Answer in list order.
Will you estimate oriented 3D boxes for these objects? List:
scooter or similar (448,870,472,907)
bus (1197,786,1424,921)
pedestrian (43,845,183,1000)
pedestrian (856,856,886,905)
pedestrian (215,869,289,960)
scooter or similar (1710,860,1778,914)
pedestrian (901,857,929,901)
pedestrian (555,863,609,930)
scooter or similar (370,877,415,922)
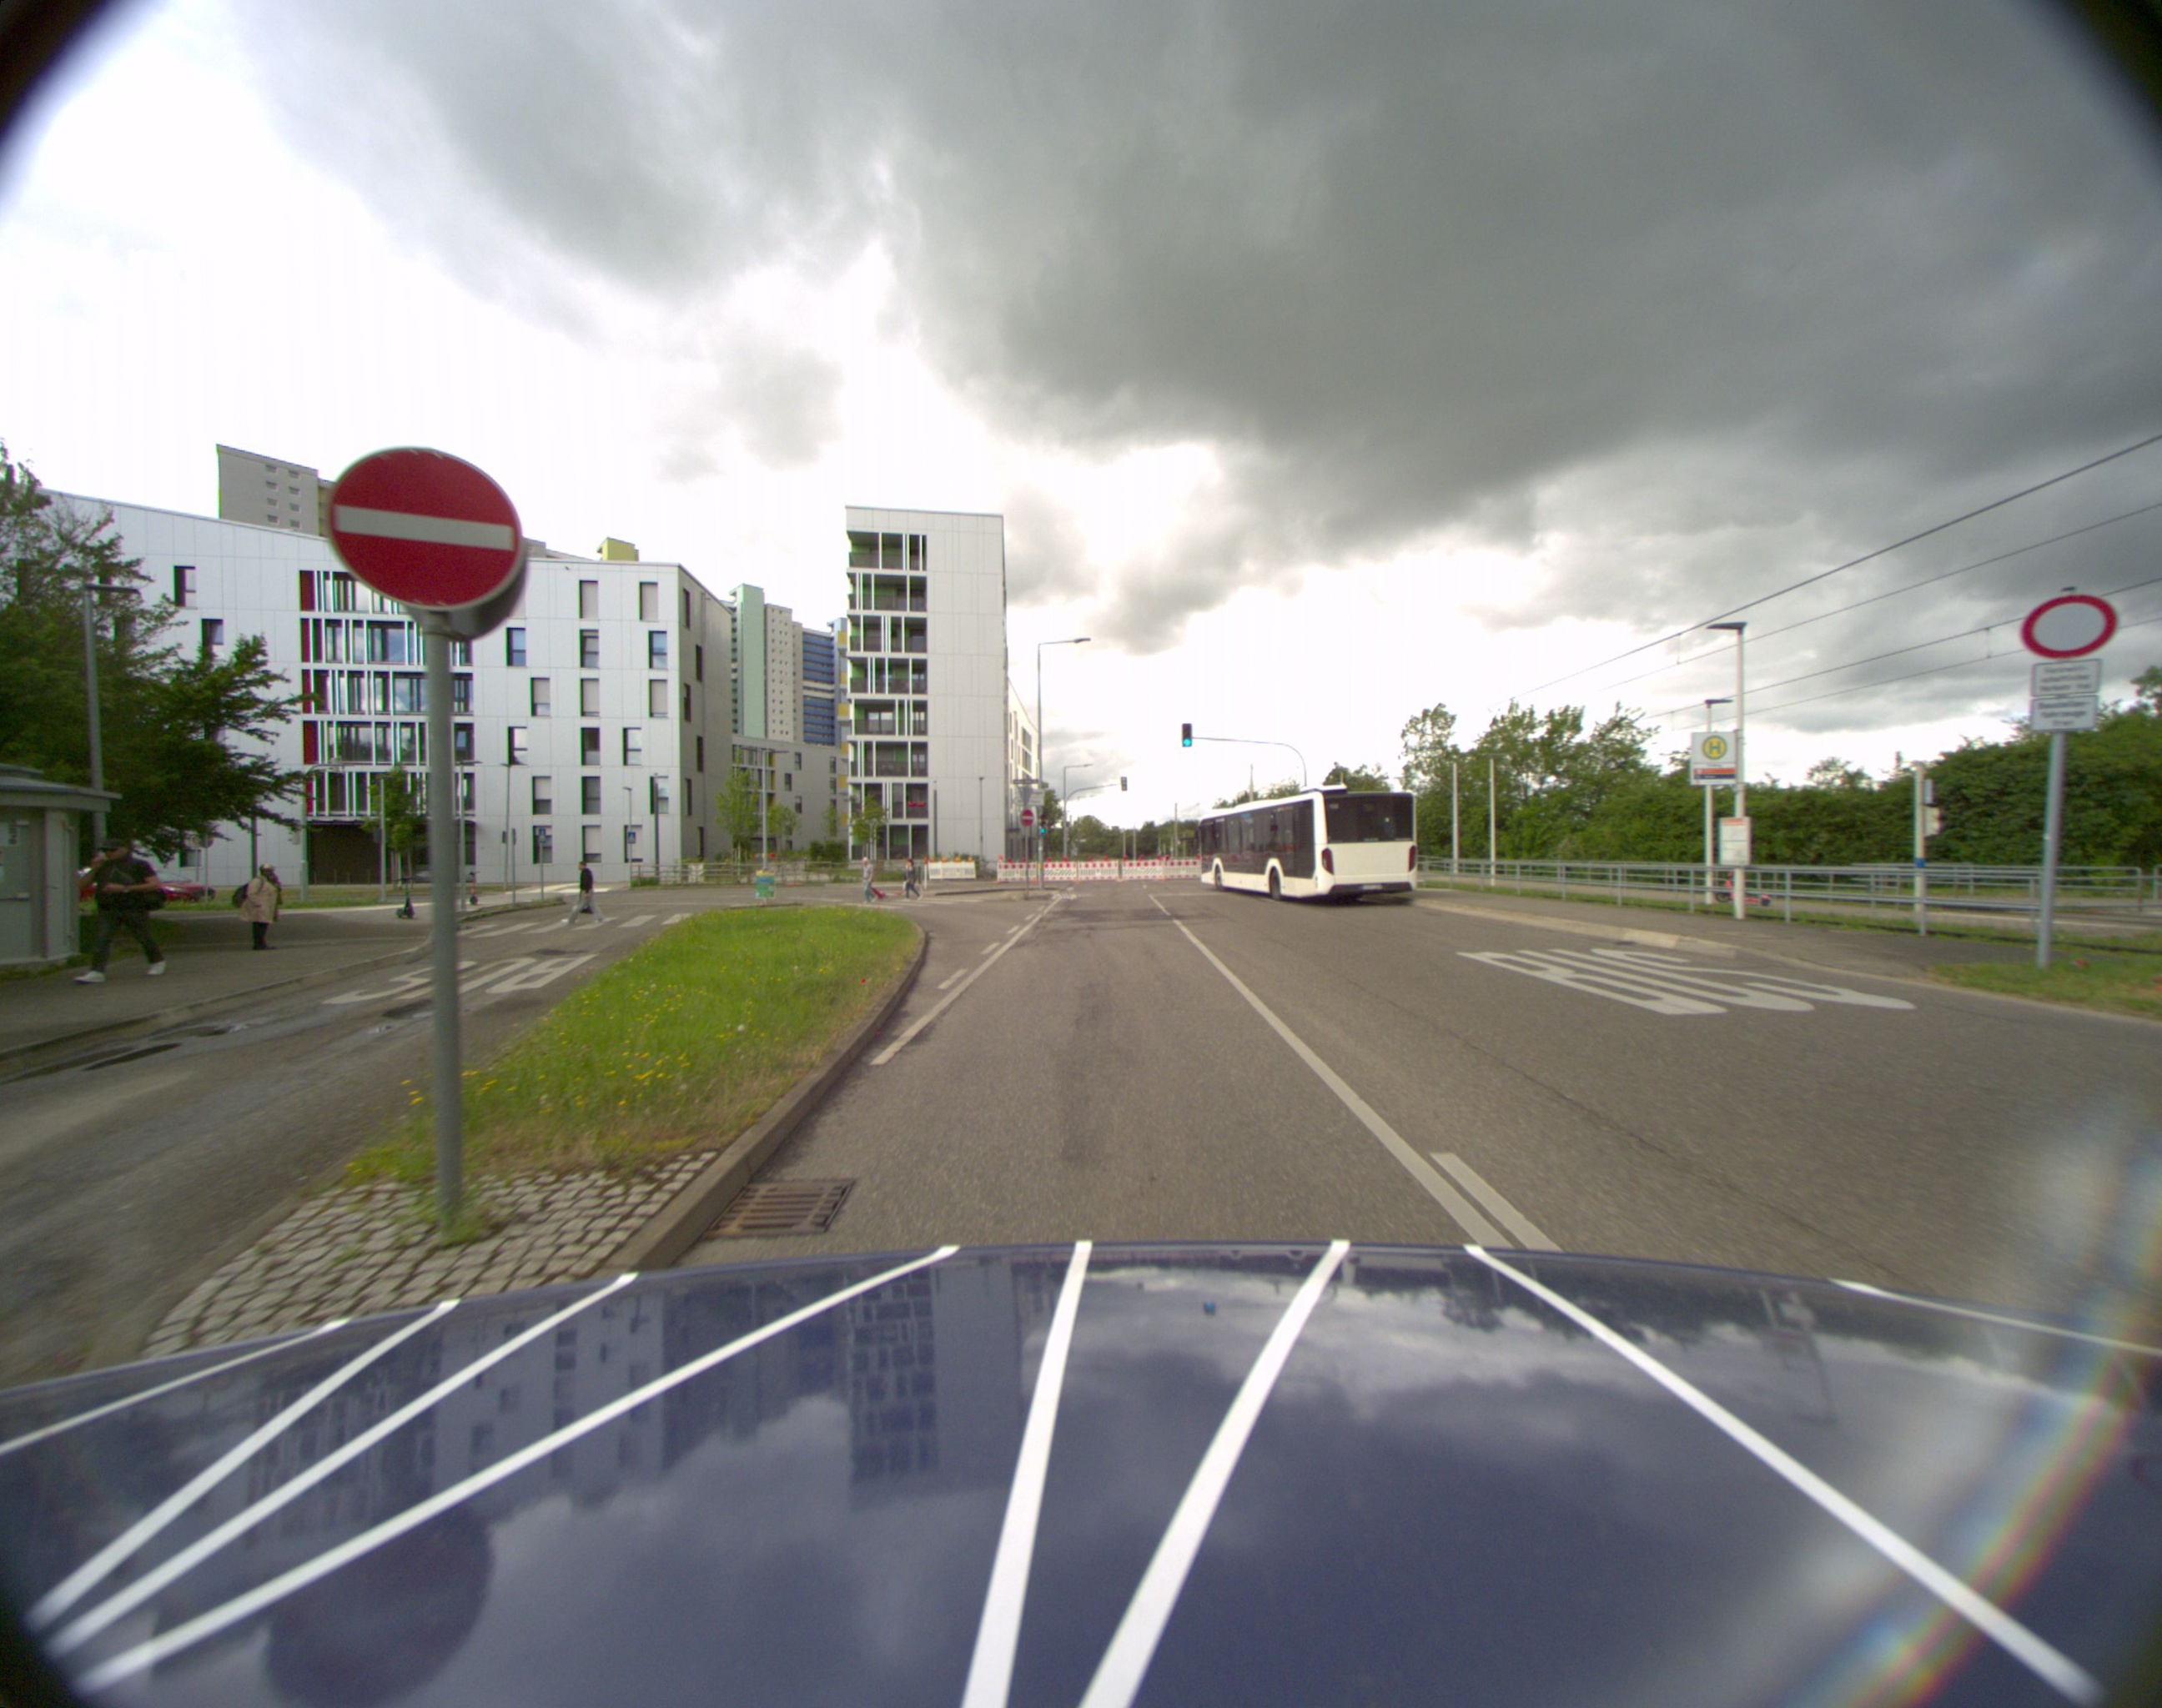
[{"bbox_3d":[-22.898,1.251,28.021,0.573,1.305,1.521,-2,1,-42],"label":"scooter or similar"},{"bbox_3d":[6.435,-0.071,24.240,2.674,3.184,12.193,-1,1,-4],"label":"bus"},{"bbox_3d":[-12.154,0.830,9.585,0.859,1.811,0.982,-2,-2,-37],"label":"pedestrian"},{"bbox_3d":[-7.332,0.909,26.555,0.721,1.625,0.699,1,3,14],"label":"pedestrian"},{"bbox_3d":[-15.205,1.084,13.964,0.688,1.585,0.769,-1,1,-30],"label":"pedestrian"},{"bbox_3d":[16.045,0.777,18.410,0.412,1.264,1.268,-1,1,-9],"label":"scooter or similar"},{"bbox_3d":[-5.939,0.886,27.207,0.731,1.558,0.693,0,1,14],"label":"pedestrian"},{"bbox_3d":[-13.706,1.136,20.901,1.063,1.737,0.955,-1,1,-24],"label":"pedestrian"},{"bbox_3d":[-20.937,1.361,23.103,1.491,1.267,0.623,1,2,33],"label":"scooter or similar"}]
